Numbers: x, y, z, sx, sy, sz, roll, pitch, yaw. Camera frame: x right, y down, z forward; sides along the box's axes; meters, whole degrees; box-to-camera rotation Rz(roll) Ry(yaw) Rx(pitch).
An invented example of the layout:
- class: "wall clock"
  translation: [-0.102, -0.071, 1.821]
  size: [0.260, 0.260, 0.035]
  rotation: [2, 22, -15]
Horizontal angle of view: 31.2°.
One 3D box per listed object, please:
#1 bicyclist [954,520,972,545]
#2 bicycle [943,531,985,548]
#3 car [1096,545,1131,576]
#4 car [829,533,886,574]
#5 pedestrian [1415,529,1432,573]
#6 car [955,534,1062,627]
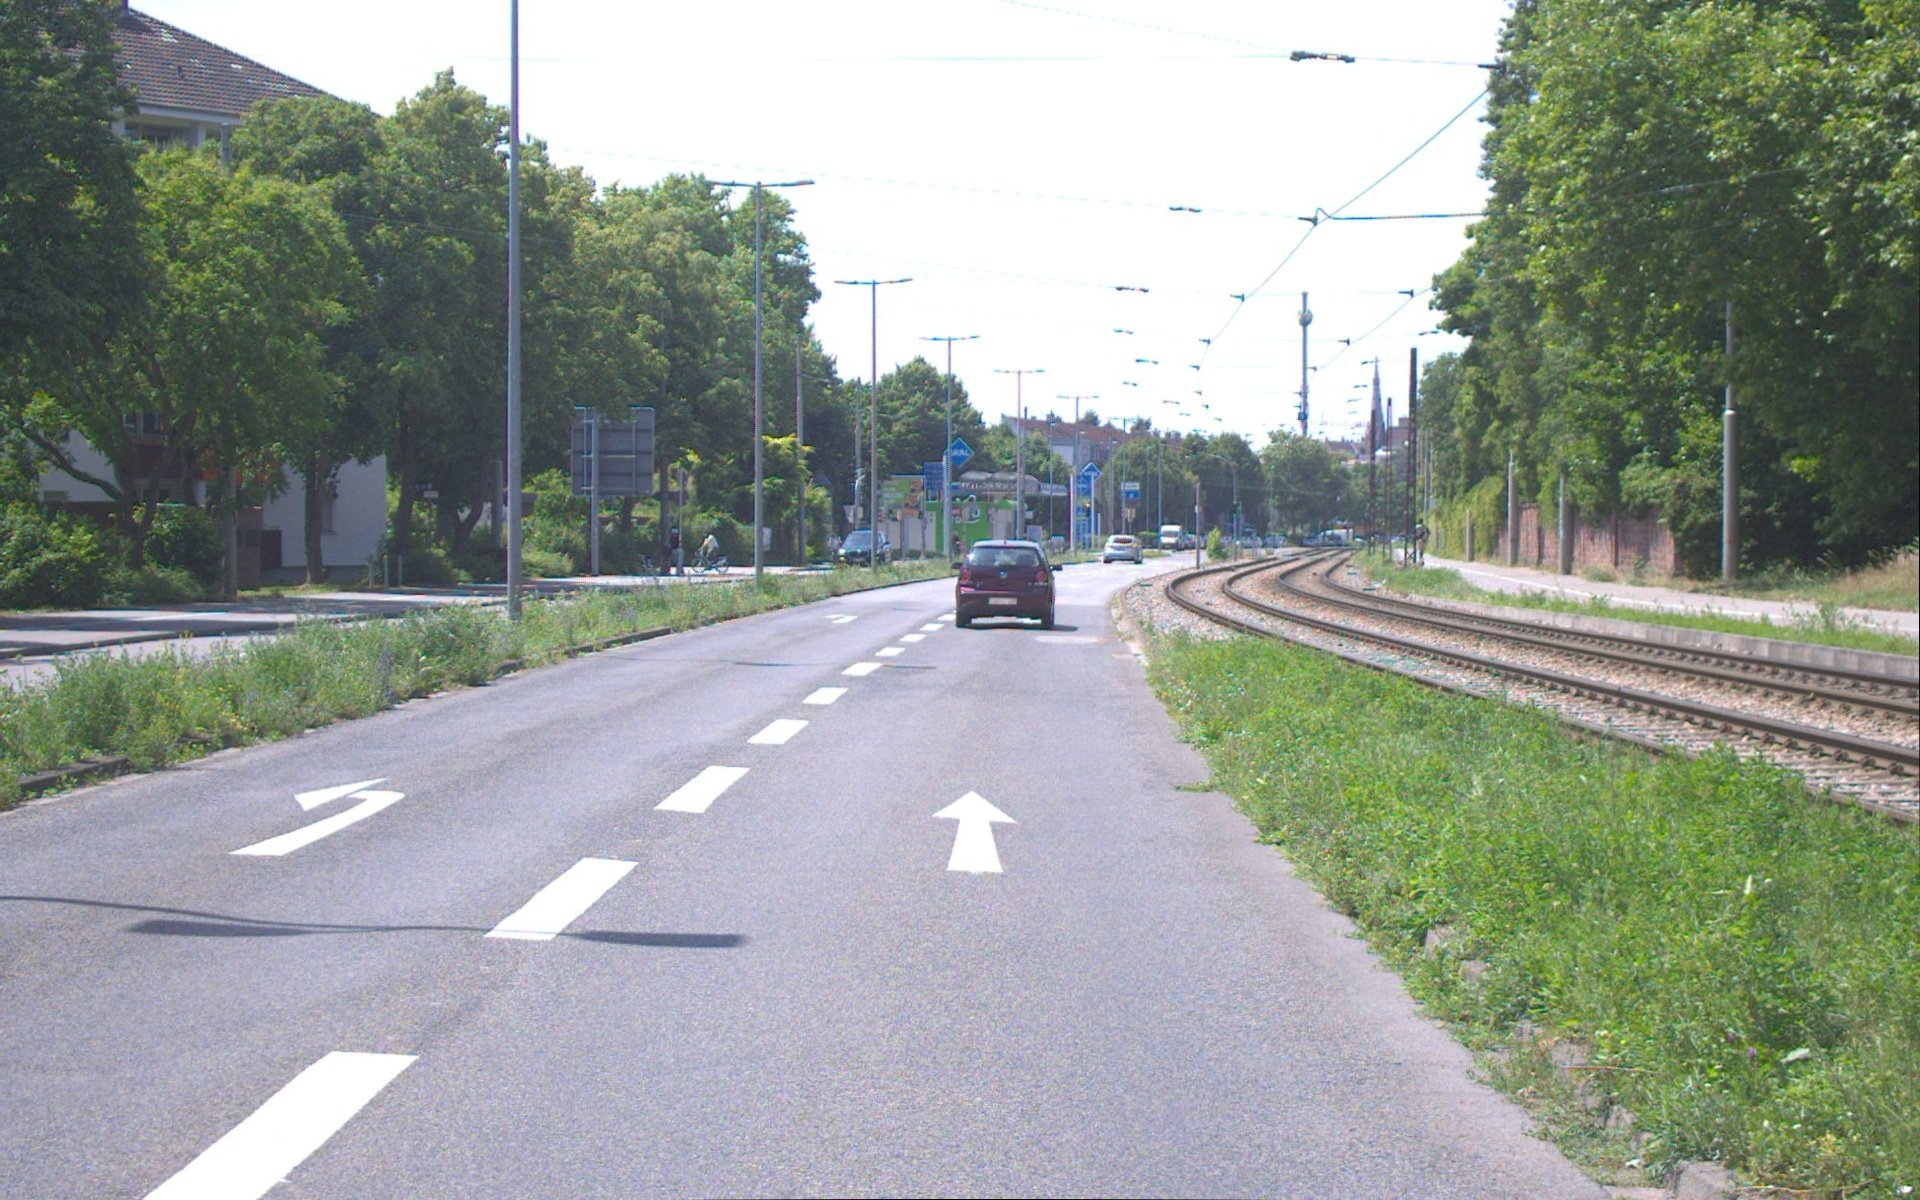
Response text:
- class: "bicyclist"
  translation: [0.207, -4.255, 216.782]
  size: [0.944, 1.588, 1.088]
  rotation: [2, 0, -7]
- class: "bicycle"
  translation: [0.245, -3.808, 216.761]
  size: [2.549, 1.034, 1.088]
  rotation: [2, 0, -7]
- class: "car"
  translation: [8.021, -2.072, 179.578]
  size: [1.703, 1.475, 3.716]
  rotation: [3, 1, 2]
- class: "car"
  translation: [-4.193, -1.889, 141.003]
  size: [1.923, 1.620, 4.756]
  rotation: [-1, 1, 3]
- class: "pedestrian"
  translation: [18.336, -1.932, 136.032]
  size: [0.662, 1.720, 0.816]
  rotation: [0, 1, 6]
- class: "car"
  translation: [0.801, -0.318, 58.284]
  size: [1.703, 1.472, 3.716]
  rotation: [2, 0, 0]
